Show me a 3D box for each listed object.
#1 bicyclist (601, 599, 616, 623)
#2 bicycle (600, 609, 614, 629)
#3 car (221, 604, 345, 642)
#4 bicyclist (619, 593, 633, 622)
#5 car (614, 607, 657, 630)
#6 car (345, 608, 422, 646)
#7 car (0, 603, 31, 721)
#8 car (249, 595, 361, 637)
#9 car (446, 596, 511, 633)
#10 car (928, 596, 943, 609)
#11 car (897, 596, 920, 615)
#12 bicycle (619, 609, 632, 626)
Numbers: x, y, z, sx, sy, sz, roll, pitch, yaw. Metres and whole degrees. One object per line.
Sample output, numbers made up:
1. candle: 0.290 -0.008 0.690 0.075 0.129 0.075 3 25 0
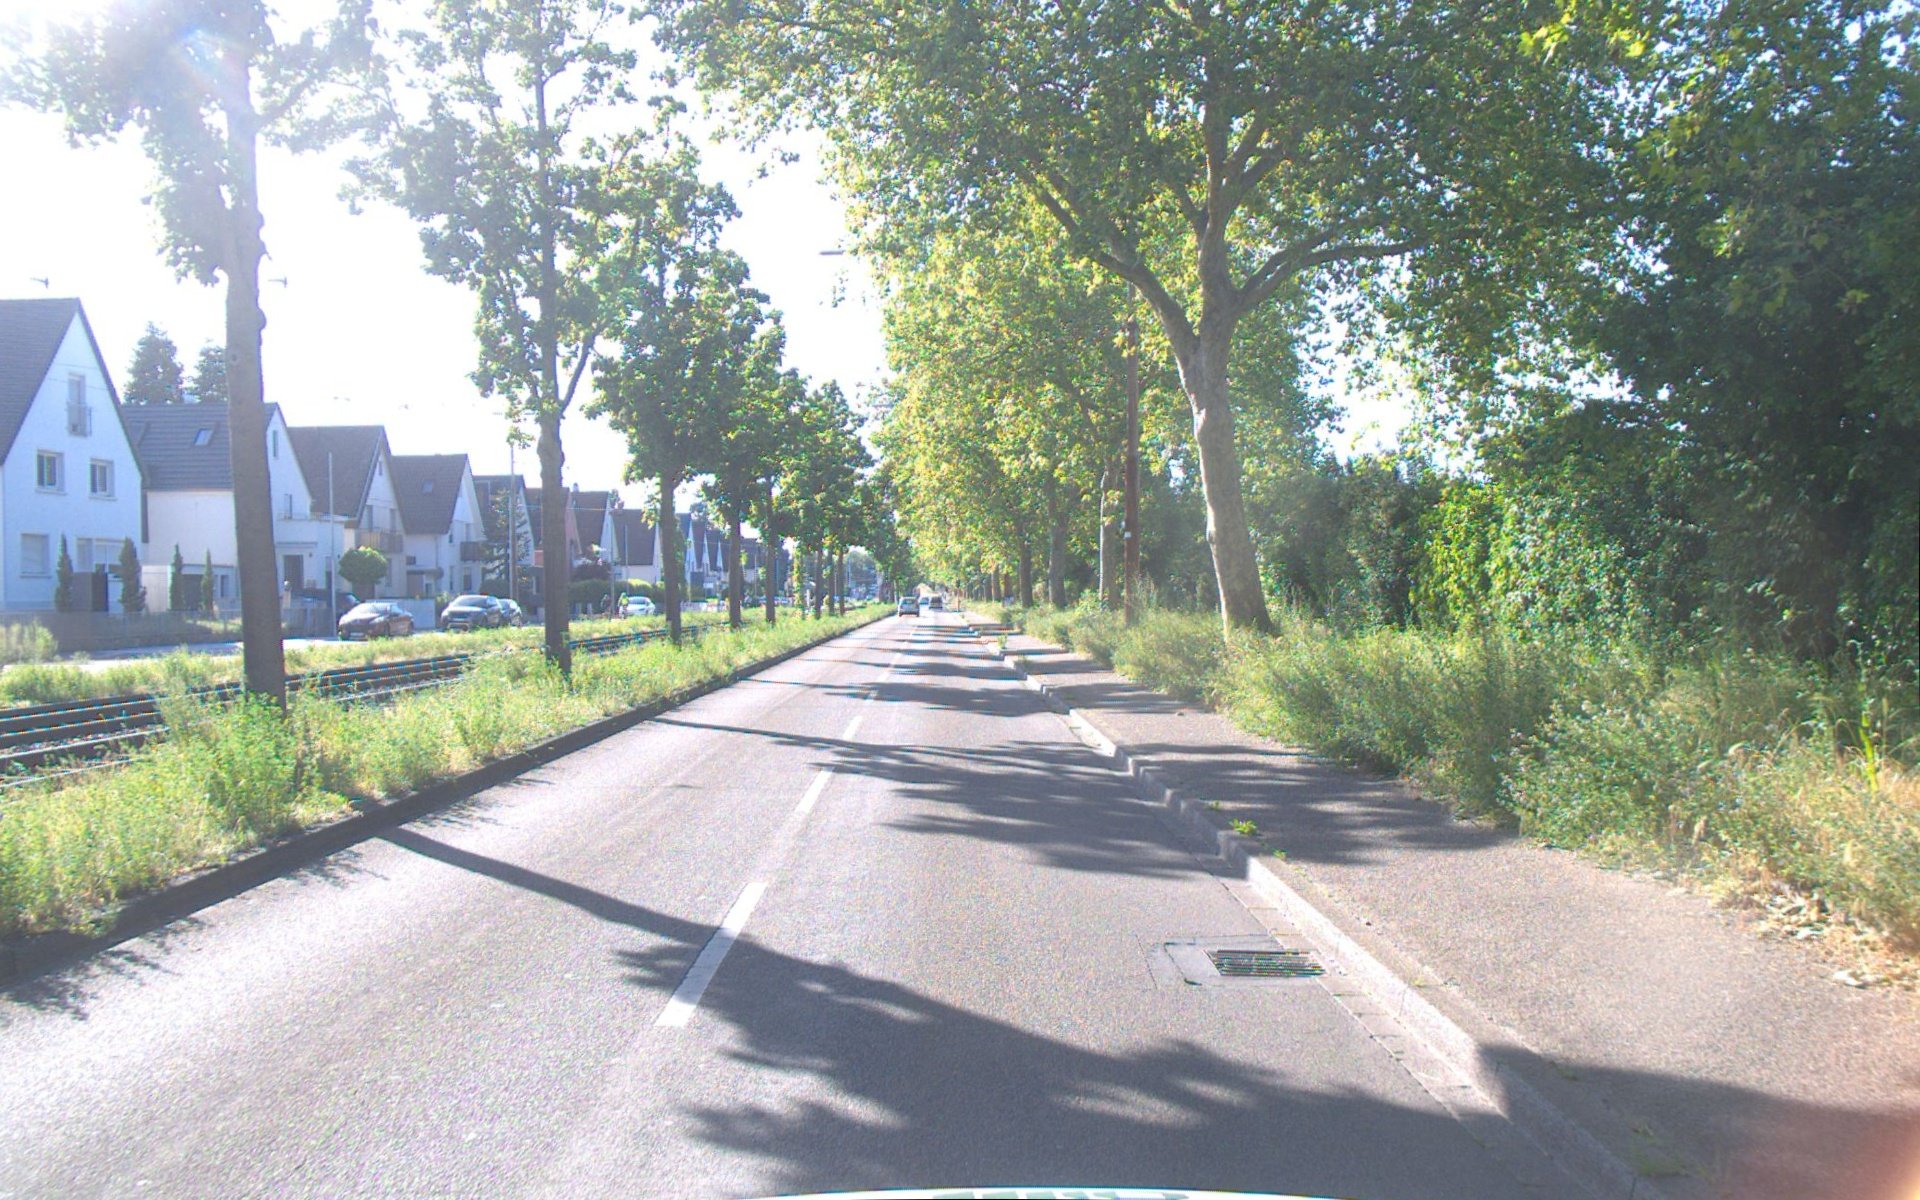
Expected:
1. bicyclist: -20.113 0.604 94.600 0.674 1.360 0.881 -1 0 -1
2. bicycle: -20.142 1.082 94.486 0.390 1.089 1.879 -1 0 0
3. car: -26.755 0.896 65.426 4.130 1.489 1.936 0 0 -5
4. bicyclist: -19.951 0.433 98.756 0.674 1.681 0.881 -1 0 -1
5. car: -23.105 1.295 117.958 1.952 1.627 4.733 0 0 2
6. car: -21.659 0.988 62.309 1.463 1.349 4.000 0 0 1
7. car: -16.541 1.003 25.508 1.876 1.916 4.523 0 0 0
8. car: -27.341 0.652 69.123 3.909 1.699 1.998 0 0 -5
9. car: -21.635 0.628 74.472 1.610 1.595 4.386 0 0 1
10. car: -2.826 0.273 192.646 1.725 1.539 3.276 0 0 0
11. car: -3.891 0.412 126.129 1.703 1.425 3.276 0 0 -1
12. bicycle: -19.958 1.035 98.665 0.390 0.944 2.096 -1 0 0
